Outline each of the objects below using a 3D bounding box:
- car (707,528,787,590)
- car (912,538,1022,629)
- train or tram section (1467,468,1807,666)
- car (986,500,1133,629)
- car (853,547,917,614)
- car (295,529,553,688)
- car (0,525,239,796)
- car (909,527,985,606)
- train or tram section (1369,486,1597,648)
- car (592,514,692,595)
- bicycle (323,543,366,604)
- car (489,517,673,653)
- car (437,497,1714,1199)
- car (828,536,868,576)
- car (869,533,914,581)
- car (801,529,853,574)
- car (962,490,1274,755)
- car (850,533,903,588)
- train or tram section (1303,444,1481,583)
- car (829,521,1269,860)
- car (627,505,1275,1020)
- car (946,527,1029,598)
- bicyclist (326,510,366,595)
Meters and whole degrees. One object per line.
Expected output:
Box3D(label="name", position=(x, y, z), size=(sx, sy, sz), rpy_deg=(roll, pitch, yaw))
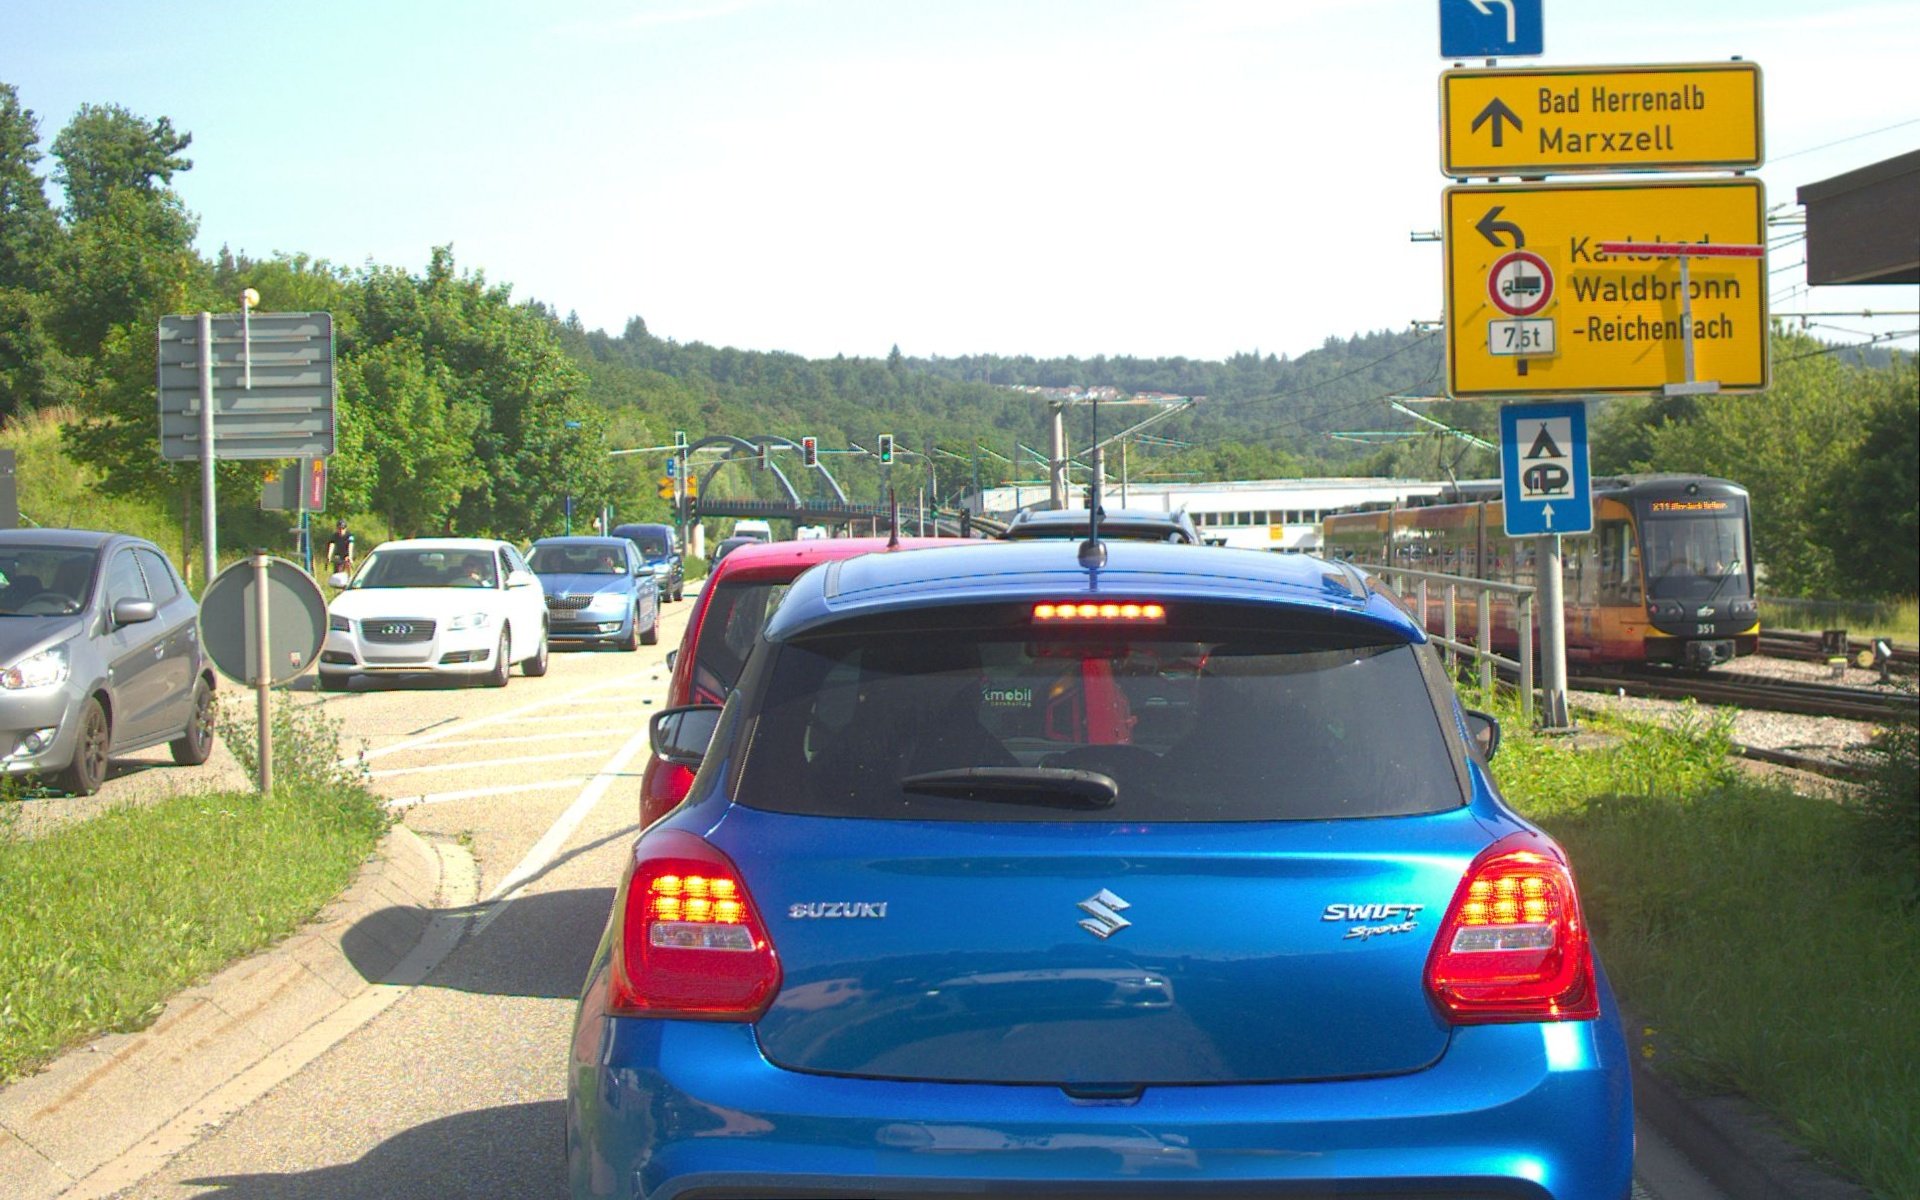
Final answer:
Box3D(label="car", position=(-5.438, -1.069, 88.103), size=(1.832, 1.426, 3.811), rpy_deg=(2, 2, -1))
Box3D(label="car", position=(0.154, -0.319, 60.907), size=(1.832, 1.426, 3.811), rpy_deg=(2, 2, 1))
Box3D(label="train or tram section", position=(12.584, -0.709, 65.714), size=(2.855, 3.353, 14.357), rpy_deg=(0, 1, -3))
Box3D(label="car", position=(1.416, -0.540, 49.746), size=(1.993, 1.730, 4.000), rpy_deg=(2, 1, 1))
Box3D(label="car", position=(-2.434, -0.673, 112.729), size=(1.993, 2.006, 4.001), rpy_deg=(2, 2, -1))
Box3D(label="car", position=(-5.153, 0.037, 33.529), size=(1.832, 1.364, 3.950), rpy_deg=(1, 2, 1))
Box3D(label="car", position=(-5.504, 0.284, 20.208), size=(1.672, 1.436, 3.840), rpy_deg=(1, 1, 1))
Box3D(label="car", position=(-0.369, -0.959, 94.944), size=(1.993, 2.006, 4.001), rpy_deg=(2, 2, -1))
Box3D(label="train or tram section", position=(11.782, -0.774, 78.750), size=(2.786, 3.353, 12.049), rpy_deg=(1, 1, -3))
Box3D(label="car", position=(-7.249, -1.073, 78.733), size=(1.832, 1.707, 3.811), rpy_deg=(2, 2, 1))
Box3D(label="bicycle", position=(-11.068, -0.481, 61.843), size=(0.566, 1.039, 1.552), rpy_deg=(2, 2, -3))
Box3D(label="car", position=(-4.808, -0.227, 44.011), size=(1.832, 1.463, 3.811), rpy_deg=(2, 3, 1))
Box3D(label="car", position=(0.124, 0.581, 7.050), size=(1.868, 1.543, 4.000), rpy_deg=(0, 1, -1))
Box3D(label="car", position=(-6.014, -2.373, 184.337), size=(1.993, 2.006, 4.001), rpy_deg=(2, 2, -1))
Box3D(label="car", position=(-3.136, -1.989, 157.731), size=(1.993, 2.006, 4.001), rpy_deg=(2, 2, -1))
Box3D(label="car", position=(-5.414, -1.992, 140.146), size=(1.993, 1.777, 4.000), rpy_deg=(1, 1, -1))
Box3D(label="car", position=(1.075, 0.093, 24.811), size=(1.993, 1.681, 4.497), rpy_deg=(2, 1, 1))
Box3D(label="car", position=(-3.304, -1.598, 136.257), size=(1.993, 2.006, 4.001), rpy_deg=(2, 2, -1))
Box3D(label="train or tram section", position=(11.239, -2.248, 90.678), size=(2.755, 3.352, 12.049), rpy_deg=(1, 1, -2))
Box3D(label="car", position=(0.444, 0.362, 17.987), size=(1.993, 1.526, 4.602), rpy_deg=(-1, 1, 1))
Box3D(label="car", position=(0.002, 0.474, 12.719), size=(1.993, 1.566, 4.000), rpy_deg=(1, 1, 1))
Box3D(label="car", position=(0.674, -0.899, 80.668), size=(1.832, 1.488, 3.811), rpy_deg=(2, 2, 1))
Box3D(label="bicyclist", position=(-11.046, -0.856, 61.850), size=(0.629, 1.502, 0.506), rpy_deg=(2, 2, -3))
